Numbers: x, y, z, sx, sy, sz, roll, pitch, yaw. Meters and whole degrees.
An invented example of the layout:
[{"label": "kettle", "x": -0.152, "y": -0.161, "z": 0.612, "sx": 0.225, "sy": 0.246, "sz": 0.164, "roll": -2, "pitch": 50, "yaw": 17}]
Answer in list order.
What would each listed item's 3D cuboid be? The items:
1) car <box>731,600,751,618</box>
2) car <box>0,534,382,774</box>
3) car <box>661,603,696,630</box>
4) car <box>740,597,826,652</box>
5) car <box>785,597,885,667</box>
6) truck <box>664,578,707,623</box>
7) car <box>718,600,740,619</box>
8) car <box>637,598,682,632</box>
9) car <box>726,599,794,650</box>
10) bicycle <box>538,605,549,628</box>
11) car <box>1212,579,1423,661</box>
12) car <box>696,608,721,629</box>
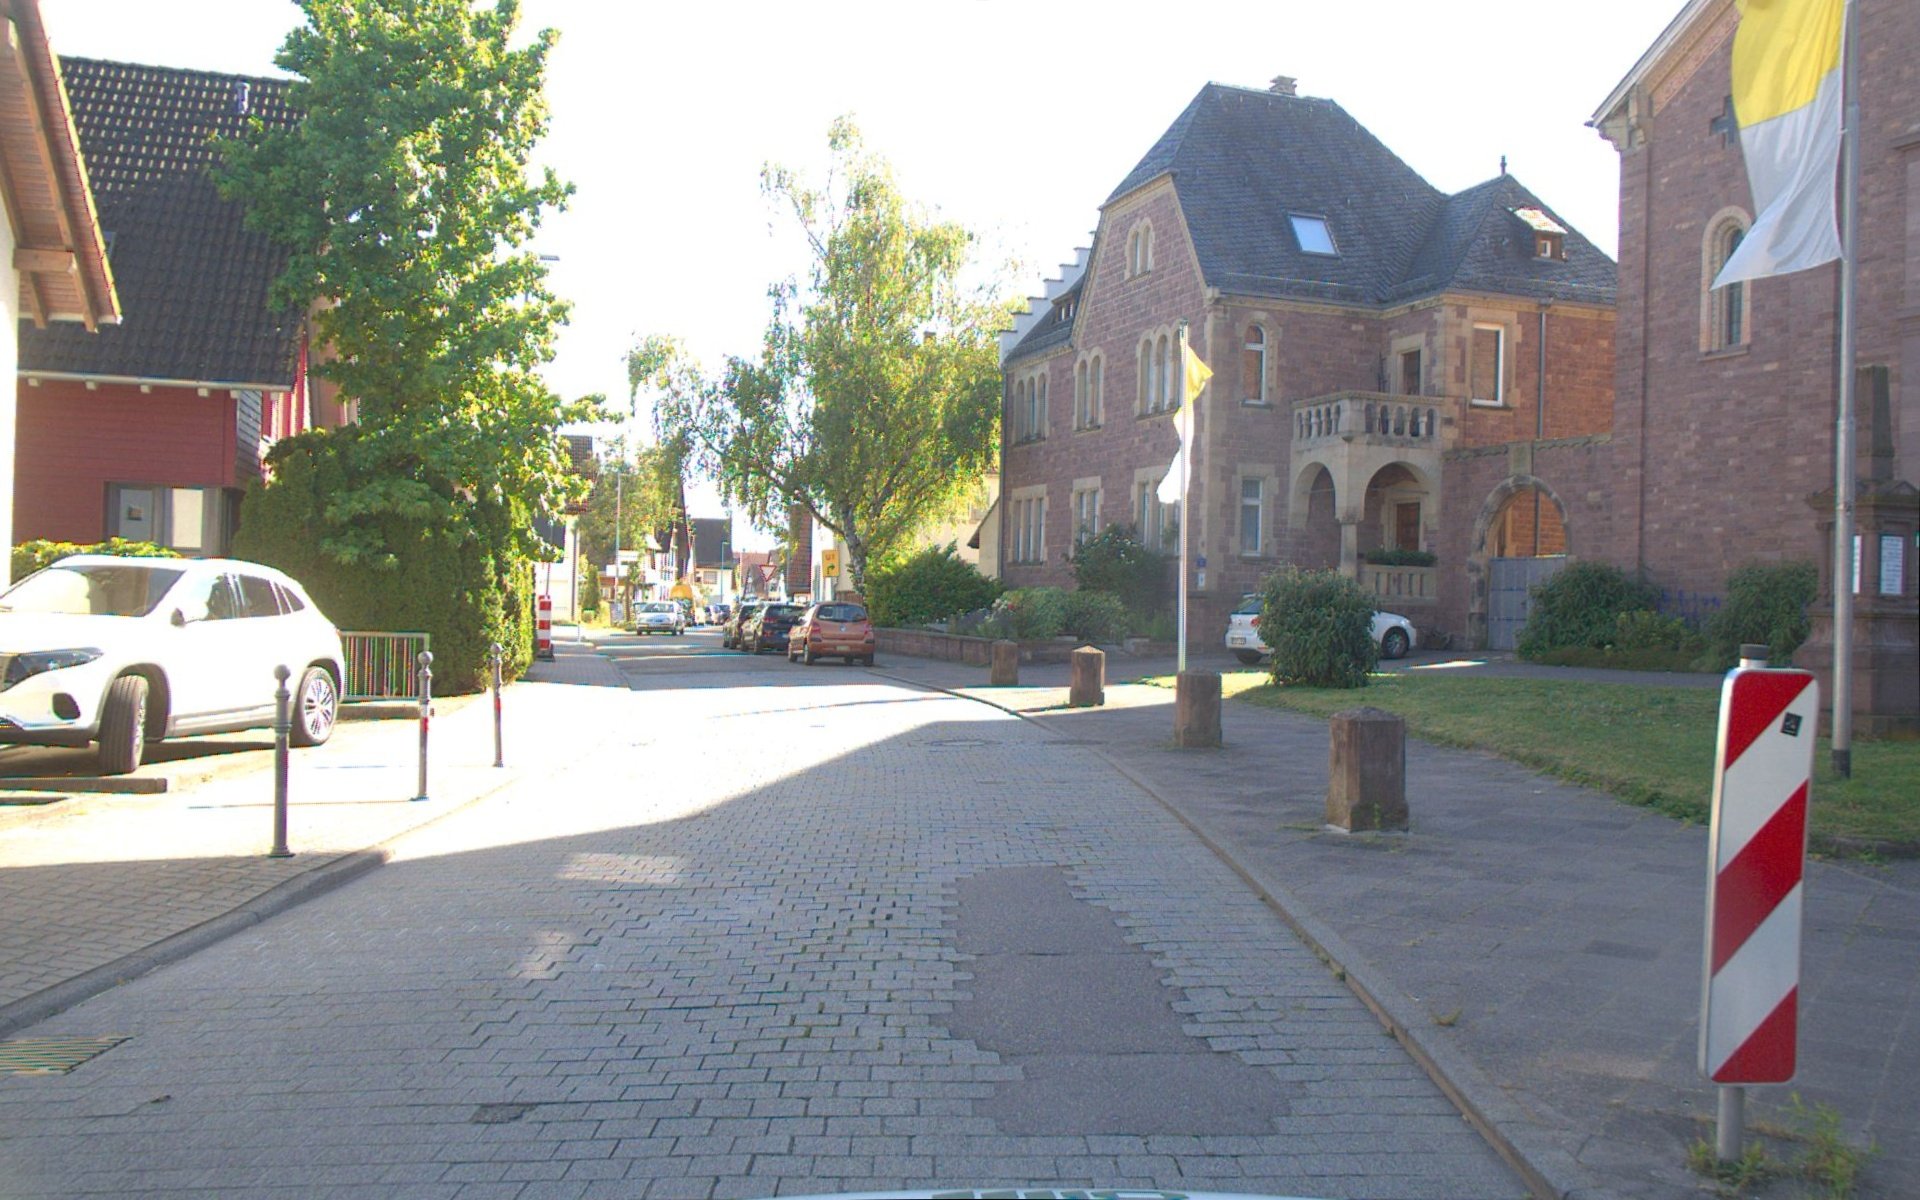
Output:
[{"label": "car", "x": -19.440, "y": 0.822, "z": 146.871, "sx": 1.557, "sy": 1.468, "sz": 3.610, "roll": 2, "pitch": -1, "yaw": -6}, {"label": "car", "x": -6.682, "y": 0.365, "z": 13.685, "sx": 1.779, "sy": 1.623, "sz": 4.448, "roll": 2, "pitch": 0, "yaw": 6}, {"label": "car", "x": -18.184, "y": 1.062, "z": 107.059, "sx": 1.770, "sy": 1.650, "sz": 3.878, "roll": 2, "pitch": -1, "yaw": -3}, {"label": "car", "x": -5.141, "y": 0.674, "z": 47.618, "sx": 1.778, "sy": 1.461, "sz": 4.268, "roll": 2, "pitch": 0, "yaw": -15}, {"label": "car", "x": -3.034, "y": 0.727, "z": 39.460, "sx": 1.621, "sy": 1.504, "sz": 3.917, "roll": 2, "pitch": 0, "yaw": -15}, {"label": "truck", "x": -18.641, "y": 0.073, "z": 112.556, "sx": 2.223, "sy": 2.919, "sz": 5.778, "roll": 2, "pitch": -1, "yaw": -3}, {"label": "car", "x": -18.848, "y": 0.766, "z": 134.964, "sx": 1.557, "sy": 1.468, "sz": 3.610, "roll": 2, "pitch": -1, "yaw": -6}, {"label": "car", "x": -13.070, "y": 0.626, "z": 72.068, "sx": 1.639, "sy": 1.427, "sz": 3.887, "roll": 1, "pitch": 0, "yaw": -6}, {"label": "car", "x": -6.351, "y": 0.747, "z": 52.174, "sx": 1.775, "sy": 1.461, "sz": 4.273, "roll": 2, "pitch": 0, "yaw": -11}, {"label": "bicycle", "x": -20.373, "y": 0.822, "z": 80.917, "sx": 0.415, "sy": 1.071, "sz": 1.377, "roll": 2, "pitch": -2, "yaw": -11}, {"label": "car", "x": 7.370, "y": 0.408, "z": 34.178, "sx": 3.843, "sy": 1.522, "sz": 1.892, "roll": -2, "pitch": -1, "yaw": -21}, {"label": "car", "x": -18.481, "y": 1.336, "z": 121.667, "sx": 1.614, "sy": 1.458, "sz": 3.610, "roll": 2, "pitch": -1, "yaw": -6}]
